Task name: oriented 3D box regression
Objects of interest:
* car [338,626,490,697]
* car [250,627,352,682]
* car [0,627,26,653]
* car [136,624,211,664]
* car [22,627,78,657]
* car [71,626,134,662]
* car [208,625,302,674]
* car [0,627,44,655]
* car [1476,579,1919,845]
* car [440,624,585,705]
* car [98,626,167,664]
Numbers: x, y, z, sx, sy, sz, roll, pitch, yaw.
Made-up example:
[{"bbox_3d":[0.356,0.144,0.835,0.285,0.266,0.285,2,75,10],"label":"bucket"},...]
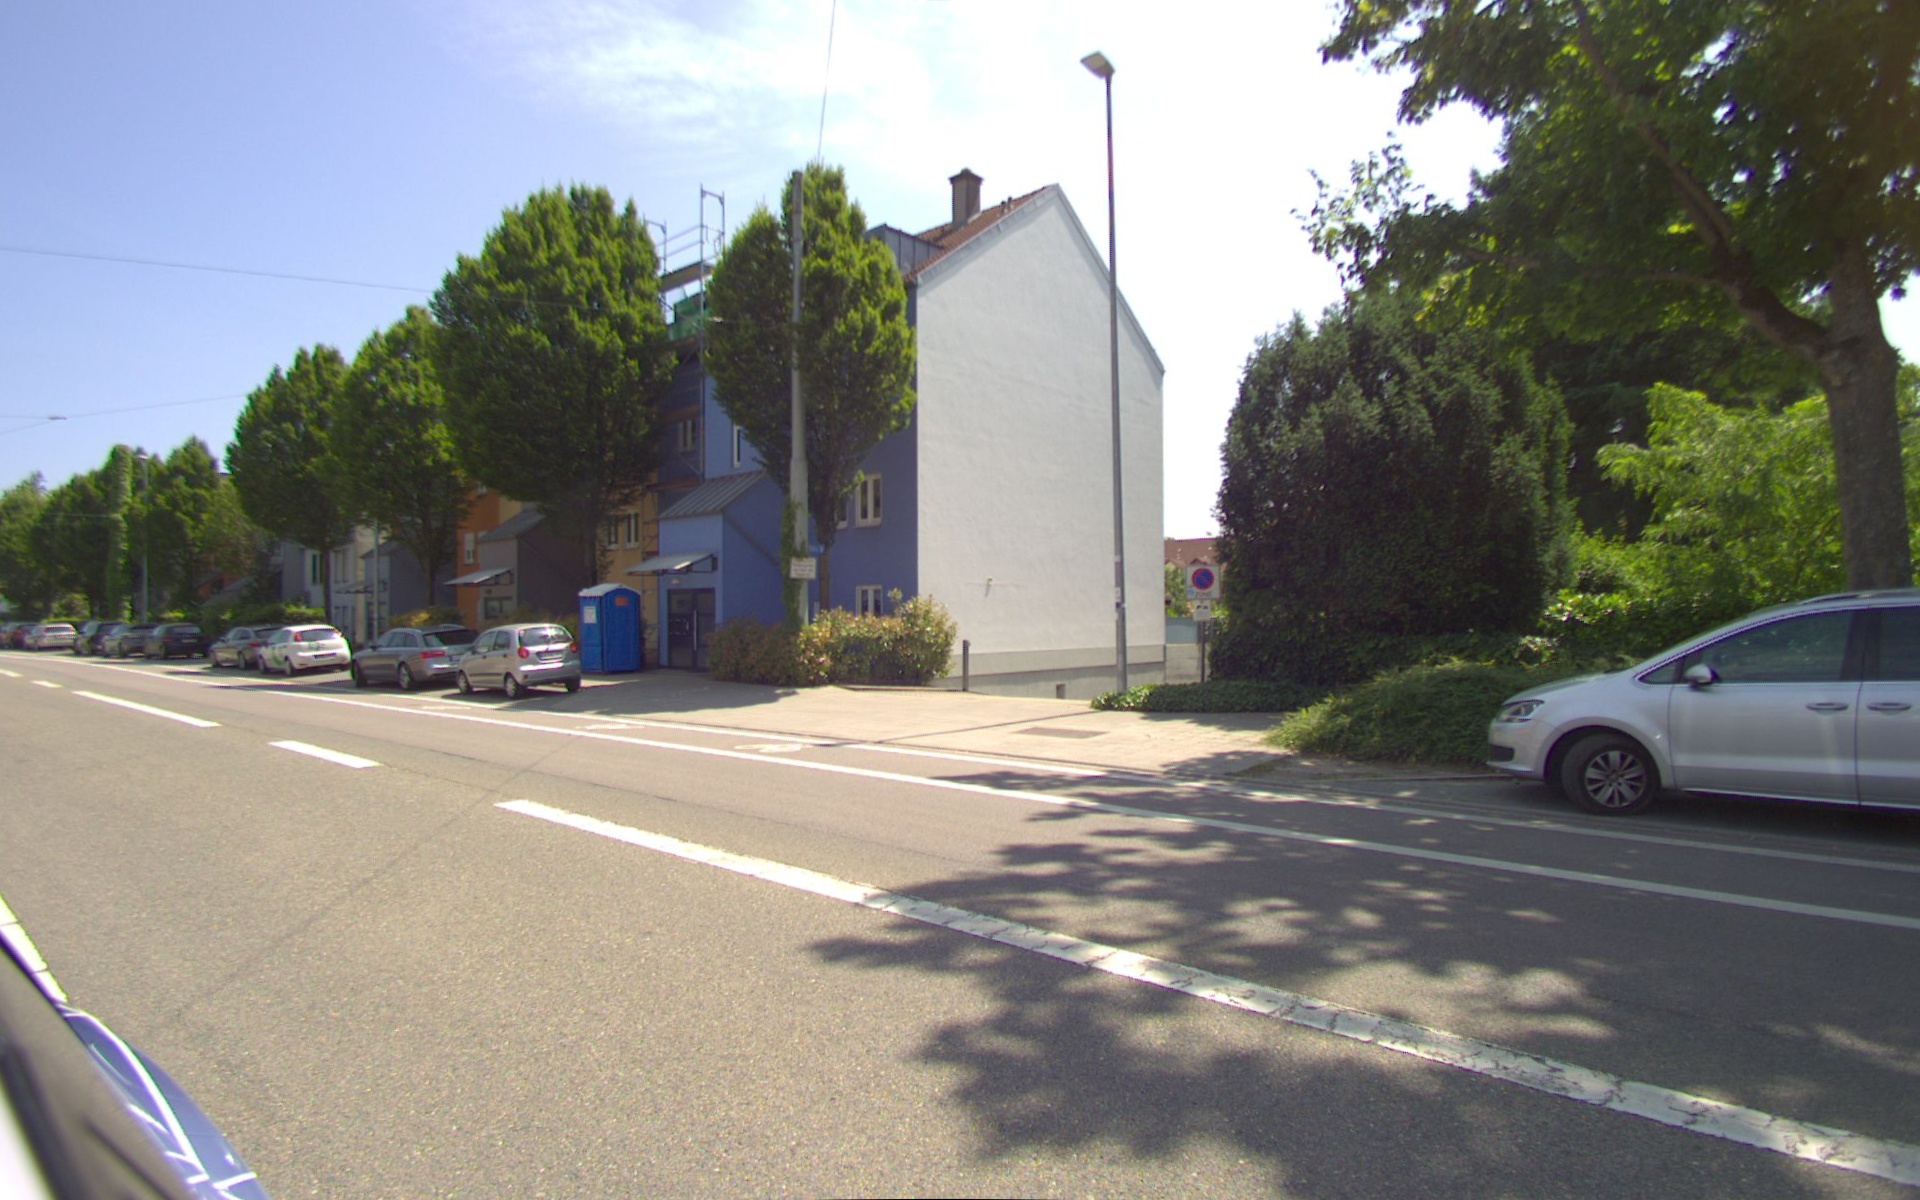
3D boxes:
[{"bbox_3d":[-13.626,1.461,25.137,4.635,1.507,1.659,-1,2,40],"label":"car"},{"bbox_3d":[-20.805,1.667,31.916,3.646,1.507,1.635,-1,2,40],"label":"car"},{"bbox_3d":[-59.714,2.476,62.958,3.467,1.507,1.842,-1,2,40],"label":"car"},{"bbox_3d":[-33.419,1.857,42.990,4.079,1.507,1.635,-1,2,40],"label":"car"},{"bbox_3d":[-50.846,2.322,56.524,4.079,1.507,1.702,-1,2,40],"label":"car"},{"bbox_3d":[-42.150,2.123,49.697,4.079,1.599,1.635,-1,2,40],"label":"car"},{"bbox_3d":[-24.715,1.695,35.450,4.079,1.507,1.635,-1,2,40],"label":"car"},{"bbox_3d":[-55.903,2.399,60.018,3.467,1.507,1.842,-1,2,40],"label":"car"},{"bbox_3d":[6.581,0.715,7.374,4.685,1.701,1.950,-1,-1,42],"label":"car"},{"bbox_3d":[-9.675,1.333,21.811,3.279,1.507,1.487,-1,2,40],"label":"car"},{"bbox_3d":[-37.412,1.991,45.714,4.079,1.507,1.635,-1,2,40],"label":"car"}]
